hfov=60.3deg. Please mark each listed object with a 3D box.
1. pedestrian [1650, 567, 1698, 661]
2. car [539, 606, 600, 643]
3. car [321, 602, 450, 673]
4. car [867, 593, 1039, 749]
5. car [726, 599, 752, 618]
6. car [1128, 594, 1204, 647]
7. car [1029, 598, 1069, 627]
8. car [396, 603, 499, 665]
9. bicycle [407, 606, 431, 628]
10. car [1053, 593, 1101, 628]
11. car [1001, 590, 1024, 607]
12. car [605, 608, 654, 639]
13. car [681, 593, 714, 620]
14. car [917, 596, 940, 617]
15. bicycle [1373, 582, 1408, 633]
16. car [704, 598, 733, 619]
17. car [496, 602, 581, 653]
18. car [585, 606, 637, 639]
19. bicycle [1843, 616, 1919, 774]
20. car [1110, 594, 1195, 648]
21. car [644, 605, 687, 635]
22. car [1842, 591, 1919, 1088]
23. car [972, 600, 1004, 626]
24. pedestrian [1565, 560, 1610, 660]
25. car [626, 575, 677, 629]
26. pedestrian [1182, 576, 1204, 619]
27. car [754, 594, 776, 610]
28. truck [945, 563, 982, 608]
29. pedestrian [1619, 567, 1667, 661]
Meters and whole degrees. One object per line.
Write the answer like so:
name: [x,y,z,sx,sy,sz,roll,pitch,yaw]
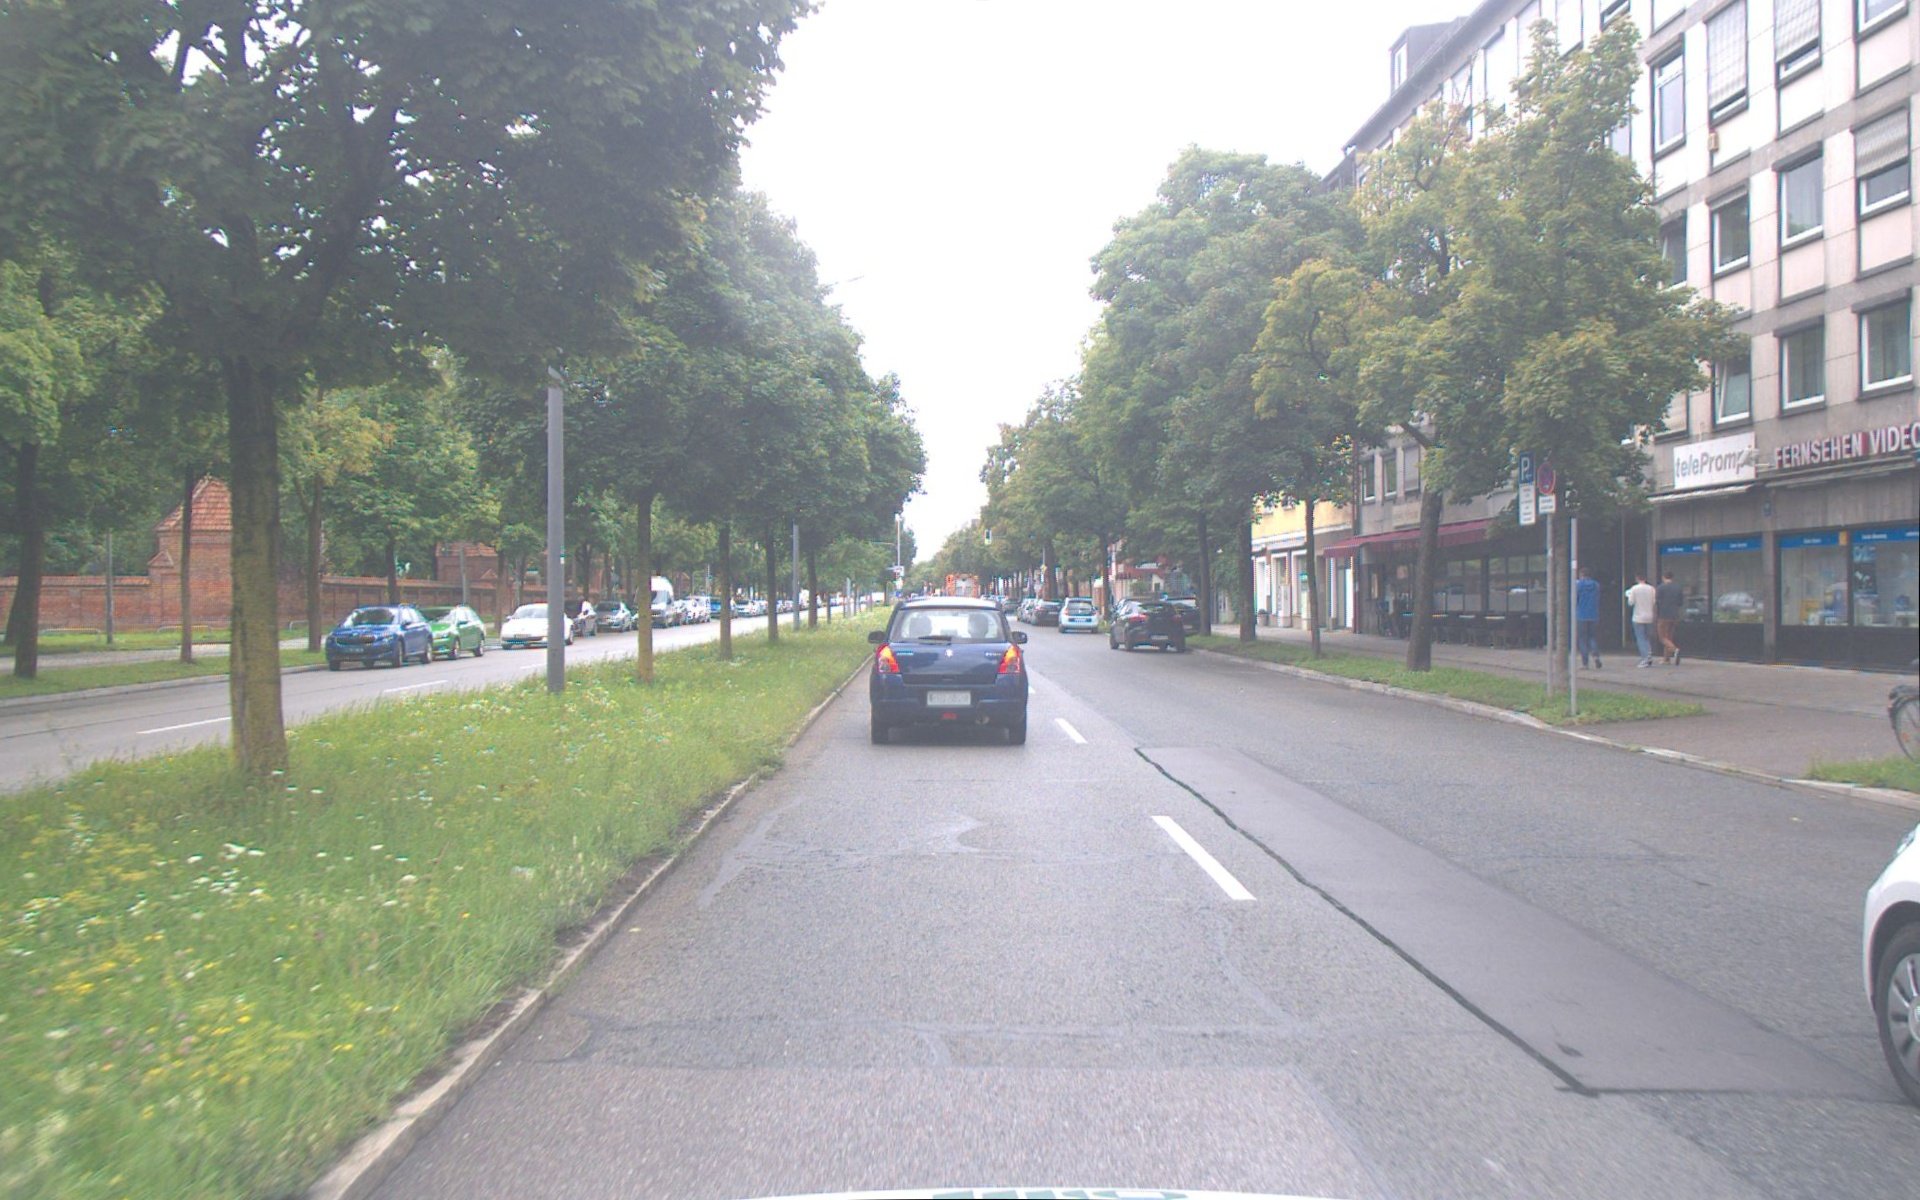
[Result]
pedestrian: [12.941,0.248,29.984,0.530,1.669,0.724,-1,0,-1]
car: [-17.149,1.058,72.800,1.777,1.563,4.296,0,0,-2]
car: [-14.387,0.893,41.689,1.849,1.564,4.312,-3,0,-3]
car: [-0.082,0.706,18.610,1.717,1.531,4.000,-1,0,0]
car: [-19.213,0.731,143.909,1.765,1.561,3.999,-1,0,-1]
car: [6.910,0.665,55.966,1.953,1.671,4.332,-1,0,-1]
car: [4.780,0.672,89.689,1.621,1.477,4.705,-1,0,-3]
car: [-14.580,0.934,47.246,1.605,1.564,4.313,-3,0,-1]
bicycle: [-24.263,0.763,74.162,0.642,0.953,1.618,-1,0,-4]
car: [5.133,0.438,73.147,1.621,1.477,3.997,-1,0,-3]
car: [4.953,-0.117,155.748,1.953,1.557,3.999,-1,0,-1]
car: [-17.549,1.216,87.965,1.777,1.563,4.818,0,0,-2]
car: [-17.860,0.456,112.690,1.672,1.764,3.999,-1,0,-1]
car: [-2.383,0.438,123.431,1.684,1.527,4.299,0,0,-1]
bicycle: [12.871,0.204,49.536,0.568,1.489,1.688,-1,0,-1]
car: [-18.519,0.637,126.753,1.672,1.561,3.999,-1,0,-1]
car: [-14.701,0.921,57.866,1.725,1.564,4.315,-3,0,1]
car: [-17.369,1.094,82.540,1.777,1.563,4.439,0,0,-2]
bicycle: [8.147,0.780,13.257,0.447,1.278,2.137,-1,0,-19]
car: [5.589,0.582,48.404,1.953,1.477,3.999,-1,0,-1]
car: [-18.065,1.196,101.635,2.142,1.766,4.575,0,0,-4]
car: [3.781,0.749,3.785,1.652,1.516,3.434,1,0,-1]
car: [1.740,0.773,102.762,1.784,1.503,4.689,1,0,-1]
pedestrian: [11.261,0.179,29.696,0.489,1.763,0.732,-1,0,-1]
car: [-17.675,0.108,95.083,2.142,3.005,6.187,0,0,-4]
pedestrian: [10.457,-0.096,74.189,0.776,1.888,0.776,-3,0,-4]
car: [-19.699,0.151,167.312,1.765,1.561,3.999,-1,0,-1]
truck: [0.241,-1.217,139.525,2.979,3.619,13.673,0,0,0]
pedestrian: [12.271,0.248,29.721,0.538,1.658,0.641,-2,0,-1]
